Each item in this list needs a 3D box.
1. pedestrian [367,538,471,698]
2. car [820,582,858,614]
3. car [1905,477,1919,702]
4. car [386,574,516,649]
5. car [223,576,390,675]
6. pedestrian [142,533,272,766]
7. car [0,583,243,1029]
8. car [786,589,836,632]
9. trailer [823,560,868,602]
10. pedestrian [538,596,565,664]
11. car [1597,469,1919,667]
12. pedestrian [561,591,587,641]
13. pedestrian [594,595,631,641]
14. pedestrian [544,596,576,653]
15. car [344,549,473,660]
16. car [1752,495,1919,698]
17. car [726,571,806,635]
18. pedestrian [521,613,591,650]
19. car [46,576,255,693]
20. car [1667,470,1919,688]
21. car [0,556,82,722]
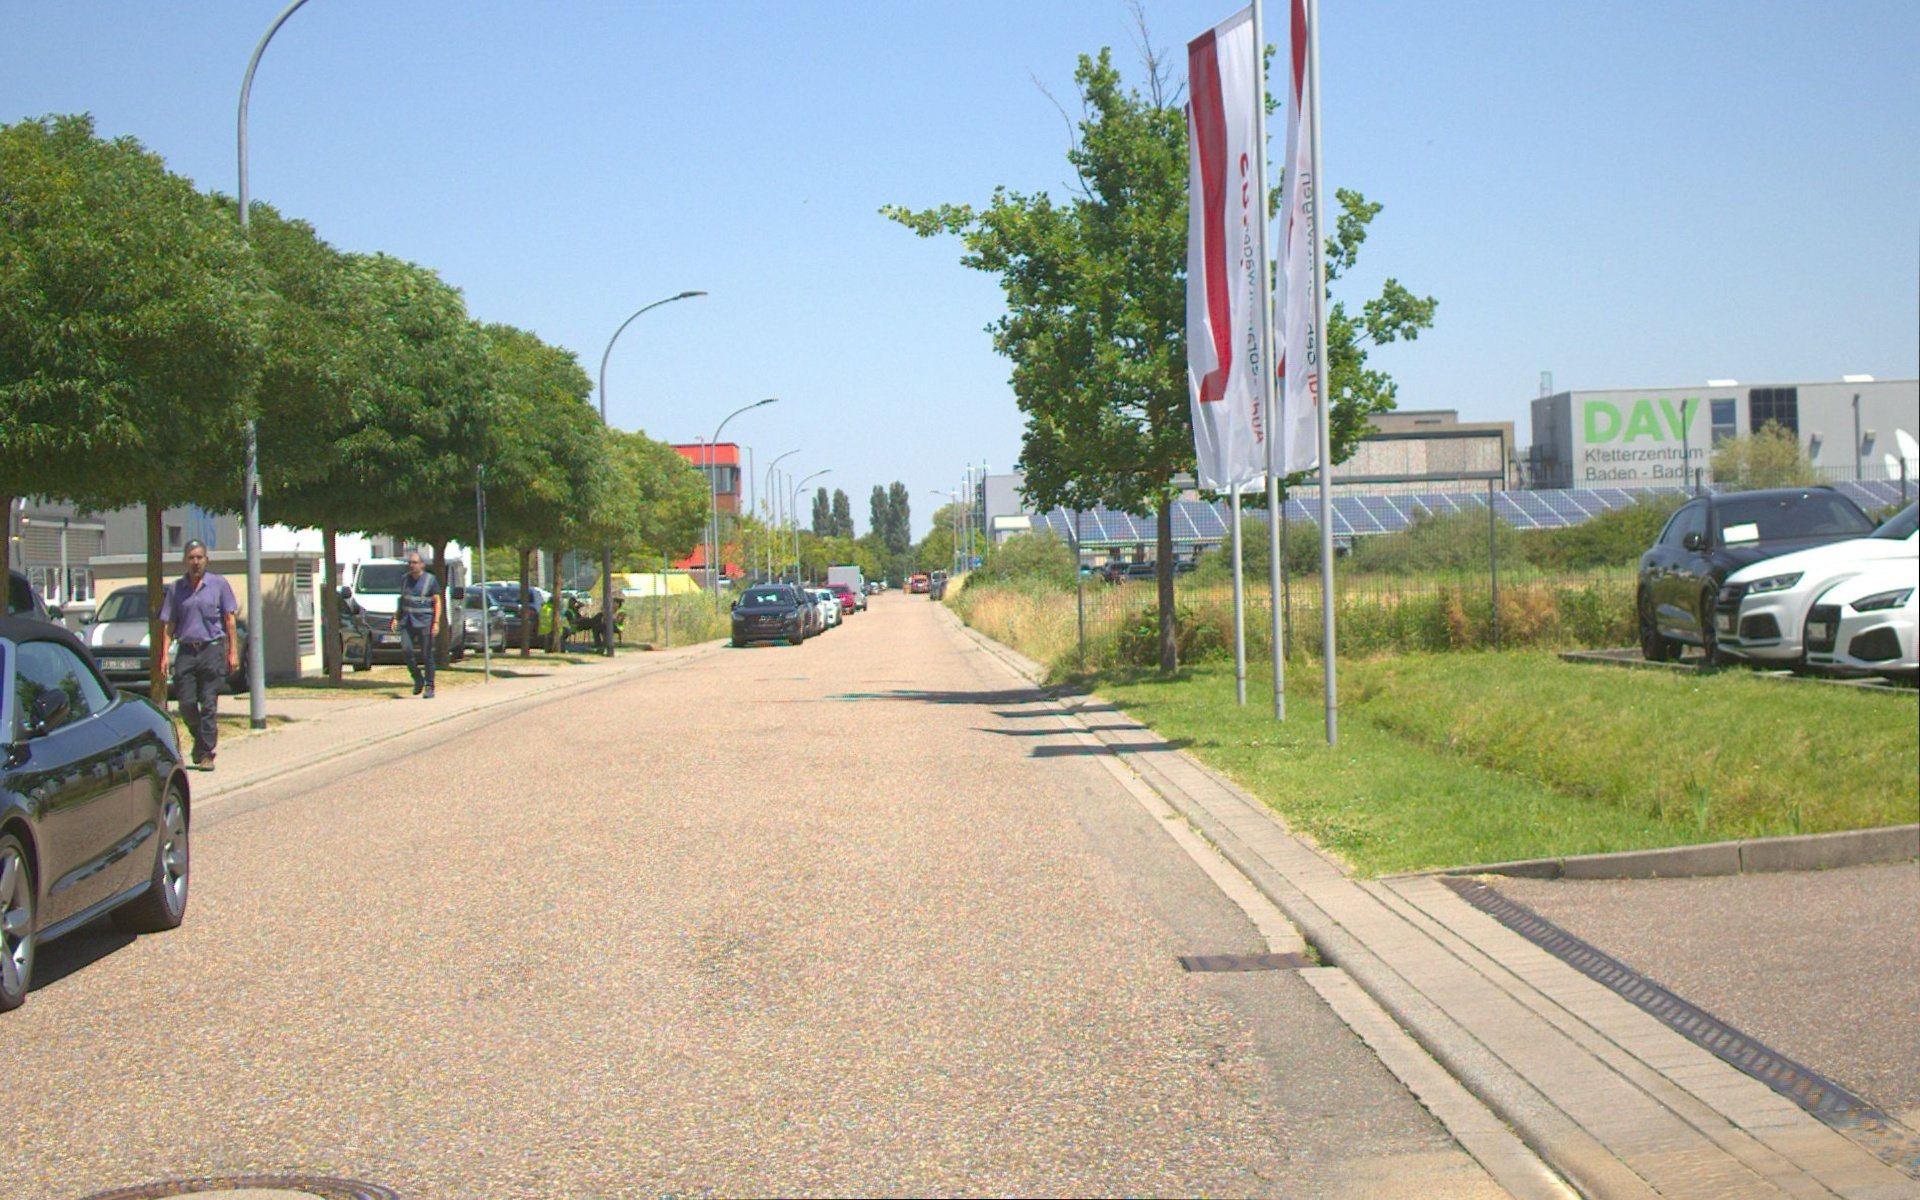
[{"bbox_3d":[-6.756,0.221,42.921,0.842,1.966,0.962,0,0,39],"label":"pedestrian"},{"bbox_3d":[-6.050,-0.087,172.324,1.787,1.515,3.982,-2,0,-1],"label":"car"},{"bbox_3d":[7.710,-0.108,21.784,2.025,1.568,4.779,-3,0,0],"label":"car"},{"bbox_3d":[-10.466,0.257,71.055,1.927,1.436,4.841,-2,-1,0],"label":"car"},{"bbox_3d":[-10.295,0.369,54.439,1.765,1.448,4.714,-1,0,-1],"label":"car"},{"bbox_3d":[-5.936,0.375,27.142,0.744,1.795,1.135,1,0,1],"label":"pedestrian"},{"bbox_3d":[-4.207,0.717,13.576,1.824,1.495,4.526,-2,0,-1],"label":"car"},{"bbox_3d":[-5.717,0.391,132.235,1.787,1.515,3.983,-2,0,-1],"label":"car"},{"bbox_3d":[-6.100,-1.027,183.626,2.201,2.130,4.286,-2,0,-1],"label":"trailer"},{"bbox_3d":[-9.669,0.713,81.438,0.506,1.590,0.753,1,0,2],"label":"pedestrian"},{"bbox_3d":[7.726,-0.313,33.607,2.025,1.687,5.108,-3,0,1],"label":"car"},{"bbox_3d":[-9.315,0.381,83.002,0.506,1.187,0.753,1,0,2],"label":"pedestrian"},{"bbox_3d":[-8.268,0.427,81.880,0.750,1.095,0.646,1,0,3],"label":"pedestrian"},{"bbox_3d":[-8.301,0.515,71.385,0.479,1.146,0.555,1,-2,9],"label":"pedestrian"},{"bbox_3d":[-10.402,0.063,65.190,1.837,2.012,5.126,1,0,-3],"label":"car"},{"bbox_3d":[8.605,-0.137,26.283,4.528,1.452,2.032,-3,0,-2],"label":"car"},{"bbox_3d":[-5.039,0.060,89.587,1.926,1.562,4.190,-2,0,-2],"label":"car"},{"bbox_3d":[-8.603,0.662,73.214,1.358,0.746,0.753,1,0,2],"label":"pedestrian"},{"bbox_3d":[-10.341,0.411,44.158,1.765,1.448,3.840,0,0,0],"label":"car"},{"bbox_3d":[8.486,-0.256,28.945,4.528,1.687,2.032,-3,0,-2],"label":"car"},{"bbox_3d":[-9.970,0.365,33.341,1.765,1.568,4.540,0,0,0],"label":"car"}]
